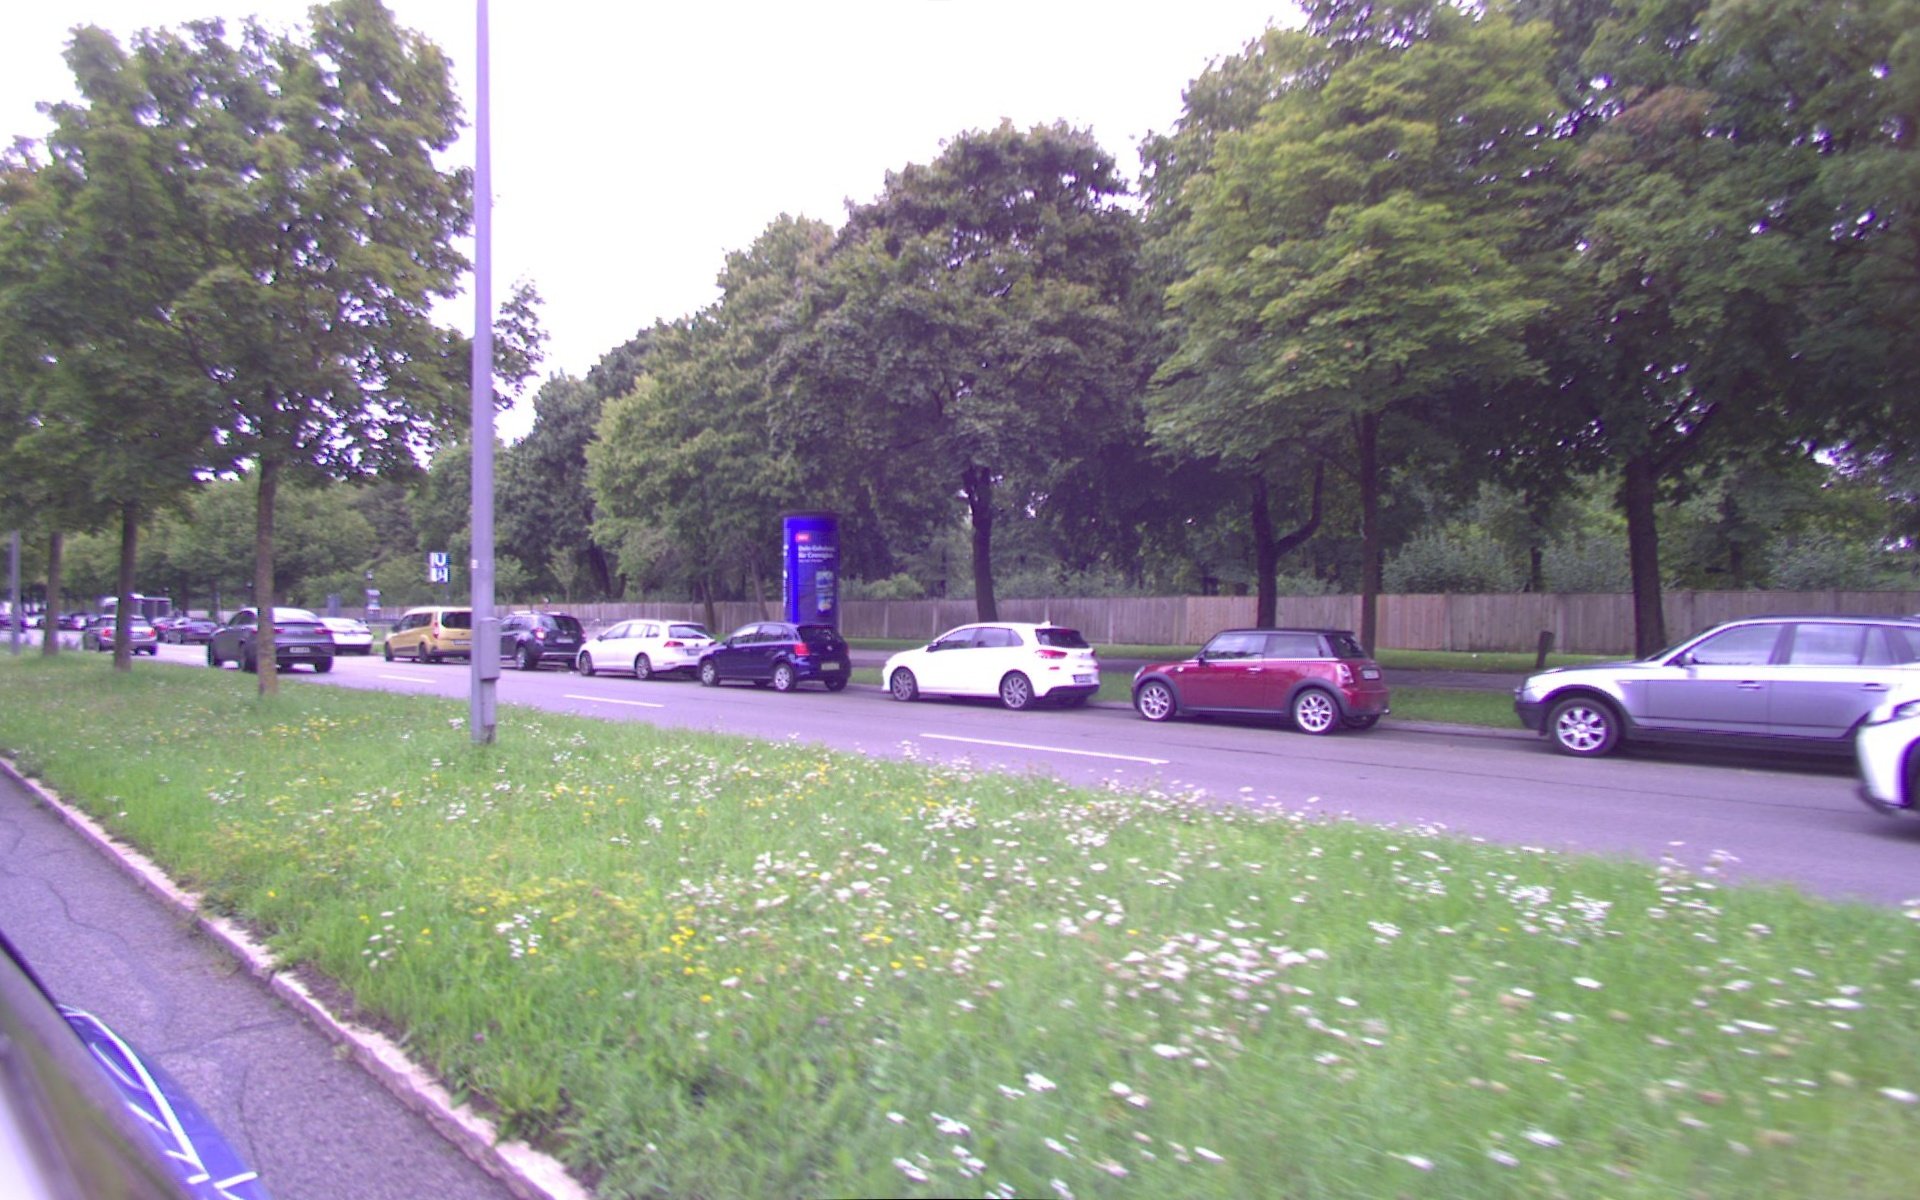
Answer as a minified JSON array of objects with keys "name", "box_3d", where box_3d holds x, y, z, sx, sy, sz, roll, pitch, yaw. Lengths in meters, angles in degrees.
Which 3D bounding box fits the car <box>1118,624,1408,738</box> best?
[{"name":"car","box_3d":[4.304,1.090,14.659,3.686,1.433,1.632,-1,-4,42]}]

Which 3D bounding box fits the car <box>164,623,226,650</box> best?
[{"name":"car","box_3d":[-41.106,1.948,54.335,4.037,1.420,1.695,-1,-2,39]}]

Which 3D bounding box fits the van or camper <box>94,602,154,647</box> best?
[{"name":"van or camper","box_3d":[-54.405,1.575,65.815,4.926,2.829,1.974,-1,-2,39]}]

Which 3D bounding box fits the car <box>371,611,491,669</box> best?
[{"name":"car","box_3d":[-17.486,1.282,33.367,4.529,1.784,1.839,-1,-2,39]}]

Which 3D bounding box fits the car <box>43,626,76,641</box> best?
[{"name":"car","box_3d":[-86.570,3.201,97.312,4.037,1.420,1.695,-1,-2,39]}]

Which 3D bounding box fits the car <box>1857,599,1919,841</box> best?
[{"name":"car","box_3d":[7.863,0.758,5.828,1.797,1.565,3.729,0,-1,-36]}]

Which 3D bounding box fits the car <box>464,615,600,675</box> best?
[{"name":"car","box_3d":[-12.522,1.269,29.520,4.037,1.628,1.982,-1,-2,39]}]

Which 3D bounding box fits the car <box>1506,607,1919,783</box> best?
[{"name":"car","box_3d":[8.623,0.927,10.997,4.454,1.643,1.802,-1,-2,41]}]

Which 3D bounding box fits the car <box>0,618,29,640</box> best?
[{"name":"car","box_3d":[-75.946,2.327,80.777,4.498,1.682,1.842,-1,-3,41]}]

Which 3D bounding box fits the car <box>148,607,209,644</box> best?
[{"name":"car","box_3d":[-44.560,1.413,57.659,3.997,2.029,1.973,-1,-1,41]}]

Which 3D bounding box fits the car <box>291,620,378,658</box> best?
[{"name":"car","box_3d":[-25.015,1.539,40.437,4.037,1.454,1.695,-1,-2,39]}]

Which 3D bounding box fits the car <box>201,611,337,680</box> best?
[{"name":"car","box_3d":[-17.656,1.113,25.776,4.499,1.601,1.802,-2,-1,41]}]

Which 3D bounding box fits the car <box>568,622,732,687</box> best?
[{"name":"car","box_3d":[-7.786,1.311,25.273,4.296,1.481,1.804,-1,-2,39]}]

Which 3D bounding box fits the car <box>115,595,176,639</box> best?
[{"name":"car","box_3d":[-50.557,1.059,62.795,4.495,2.611,1.974,-1,-2,39]}]

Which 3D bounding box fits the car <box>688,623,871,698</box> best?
[{"name":"car","box_3d":[-3.912,1.251,21.681,3.784,1.457,1.803,-1,-3,39]}]

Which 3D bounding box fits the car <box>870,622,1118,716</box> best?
[{"name":"car","box_3d":[0.522,1.166,18.124,4.258,1.488,1.802,-1,-4,42]}]

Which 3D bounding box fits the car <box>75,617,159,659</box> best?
[{"name":"car","box_3d":[-30.264,1.357,36.315,3.765,1.393,1.700,-1,-4,41]}]
